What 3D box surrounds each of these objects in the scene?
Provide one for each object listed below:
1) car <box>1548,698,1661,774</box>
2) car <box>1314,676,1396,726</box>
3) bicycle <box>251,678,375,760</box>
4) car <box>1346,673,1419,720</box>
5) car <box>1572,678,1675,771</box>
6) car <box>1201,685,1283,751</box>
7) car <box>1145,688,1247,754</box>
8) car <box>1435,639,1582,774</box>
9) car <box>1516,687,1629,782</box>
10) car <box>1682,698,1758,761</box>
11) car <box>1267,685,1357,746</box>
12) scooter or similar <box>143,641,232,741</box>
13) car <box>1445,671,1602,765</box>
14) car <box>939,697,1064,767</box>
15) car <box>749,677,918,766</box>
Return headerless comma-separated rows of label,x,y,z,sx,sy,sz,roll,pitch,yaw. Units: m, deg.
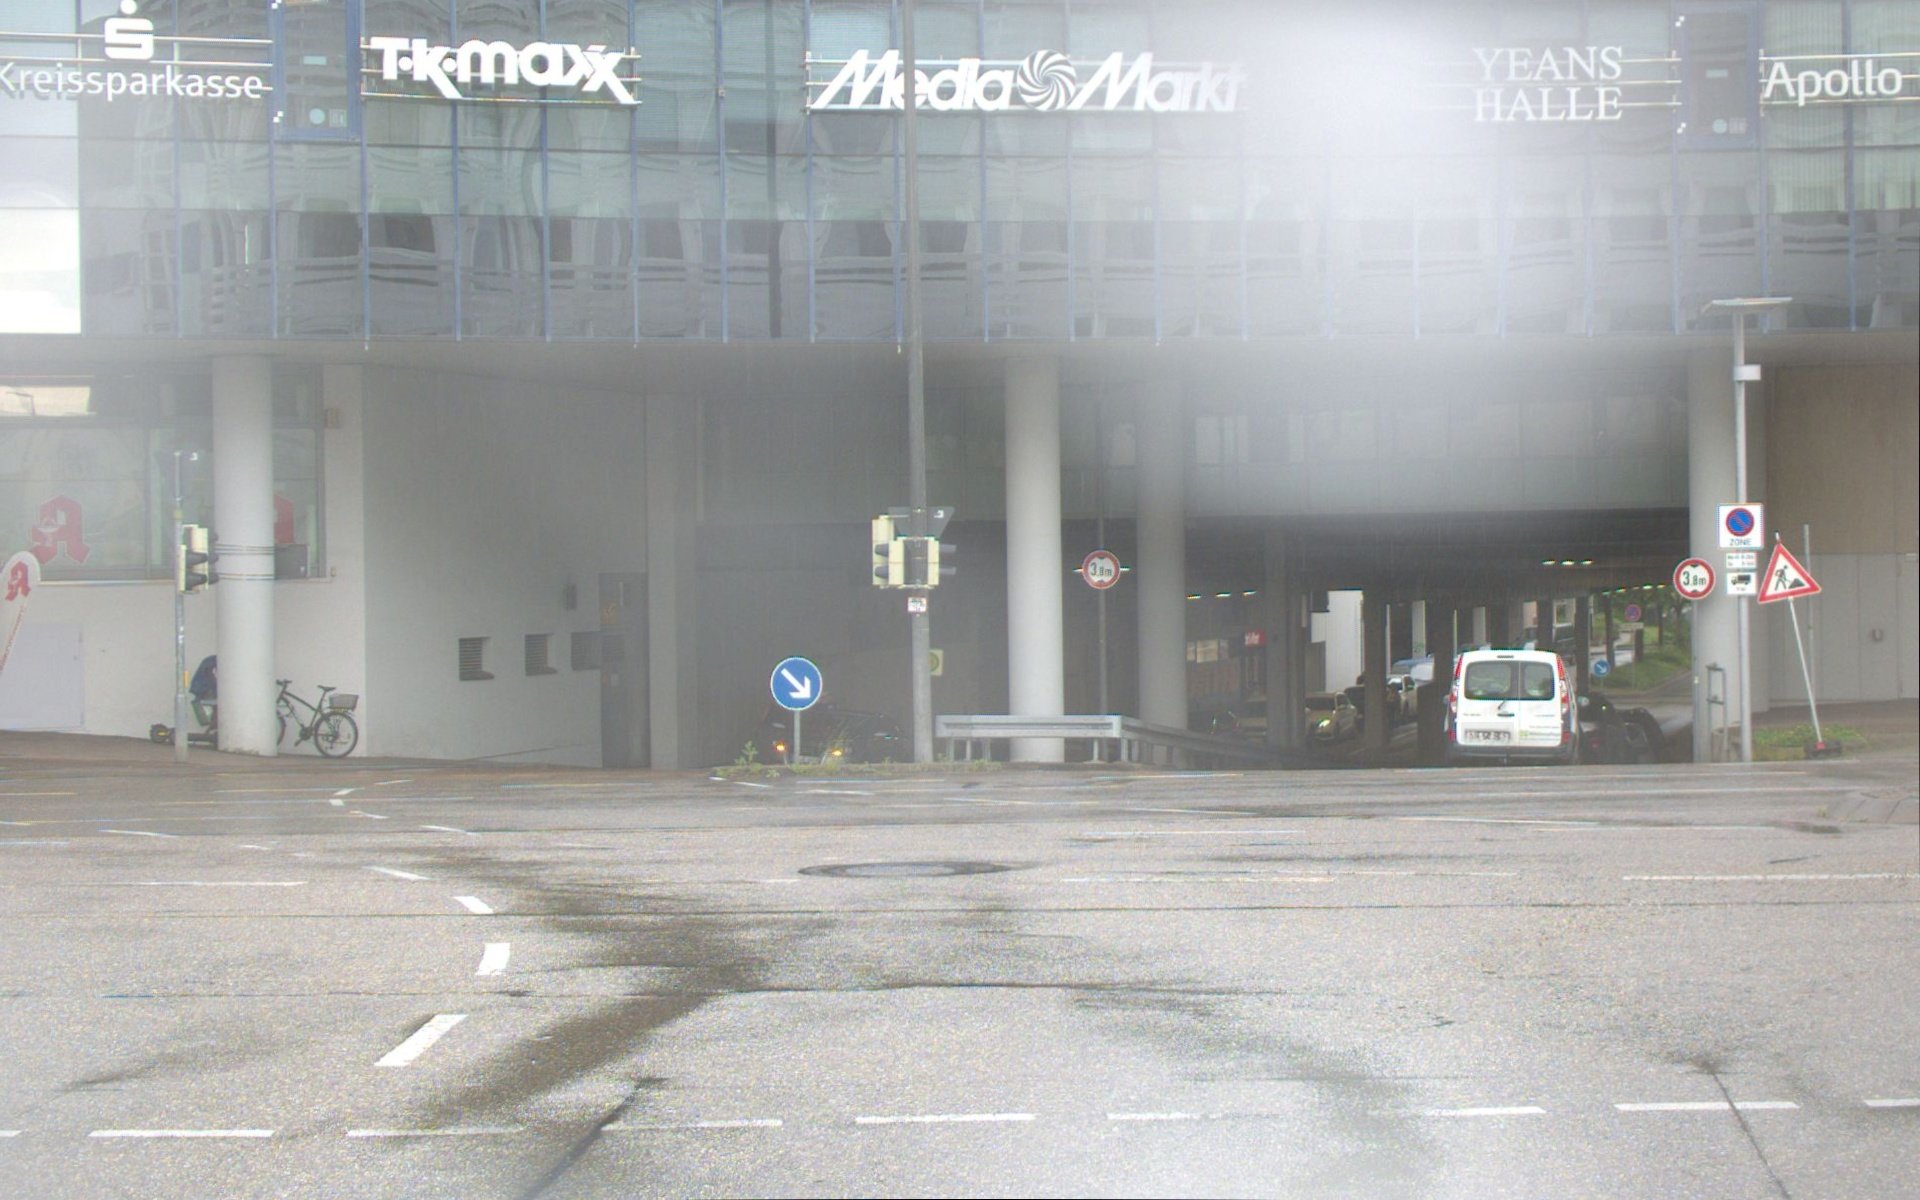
car,12.384,2.624,65.897,1.781,1.396,3.996,-1,-3,15
car,12.599,3.196,109.511,1.995,1.459,3.997,-1,-1,15
bicycle,-9.137,1.682,48.545,1.581,1.014,0.452,6,-2,-31
car,14.096,3.203,114.594,1.994,1.459,3.998,-1,-1,13
car,13.664,2.532,70.639,1.792,1.764,3.997,-1,-1,14
car,7.913,3.292,96.163,1.837,1.722,3.998,-1,0,11
car,6.288,3.201,91.288,1.916,1.582,3.936,-1,-1,15
car,7.804,1.489,48.629,1.926,1.791,4.294,-1,-1,10
car,10.912,2.389,61.073,1.634,1.606,4.259,-2,-2,14
car,20.124,3.408,90.897,1.889,1.486,3.838,1,0,13
car,10.455,3.397,101.780,1.995,1.658,3.997,1,0,15
scooter or similar,-10.833,1.274,48.207,1.166,1.368,0.489,1,0,-15
car,9.271,1.967,56.353,1.759,1.459,3.938,-2,-3,21
car,0.930,2.853,74.427,1.772,1.459,3.872,-1,-2,15
car,-2.259,2.236,62.538,1.894,1.465,4.023,-1,-4,16
